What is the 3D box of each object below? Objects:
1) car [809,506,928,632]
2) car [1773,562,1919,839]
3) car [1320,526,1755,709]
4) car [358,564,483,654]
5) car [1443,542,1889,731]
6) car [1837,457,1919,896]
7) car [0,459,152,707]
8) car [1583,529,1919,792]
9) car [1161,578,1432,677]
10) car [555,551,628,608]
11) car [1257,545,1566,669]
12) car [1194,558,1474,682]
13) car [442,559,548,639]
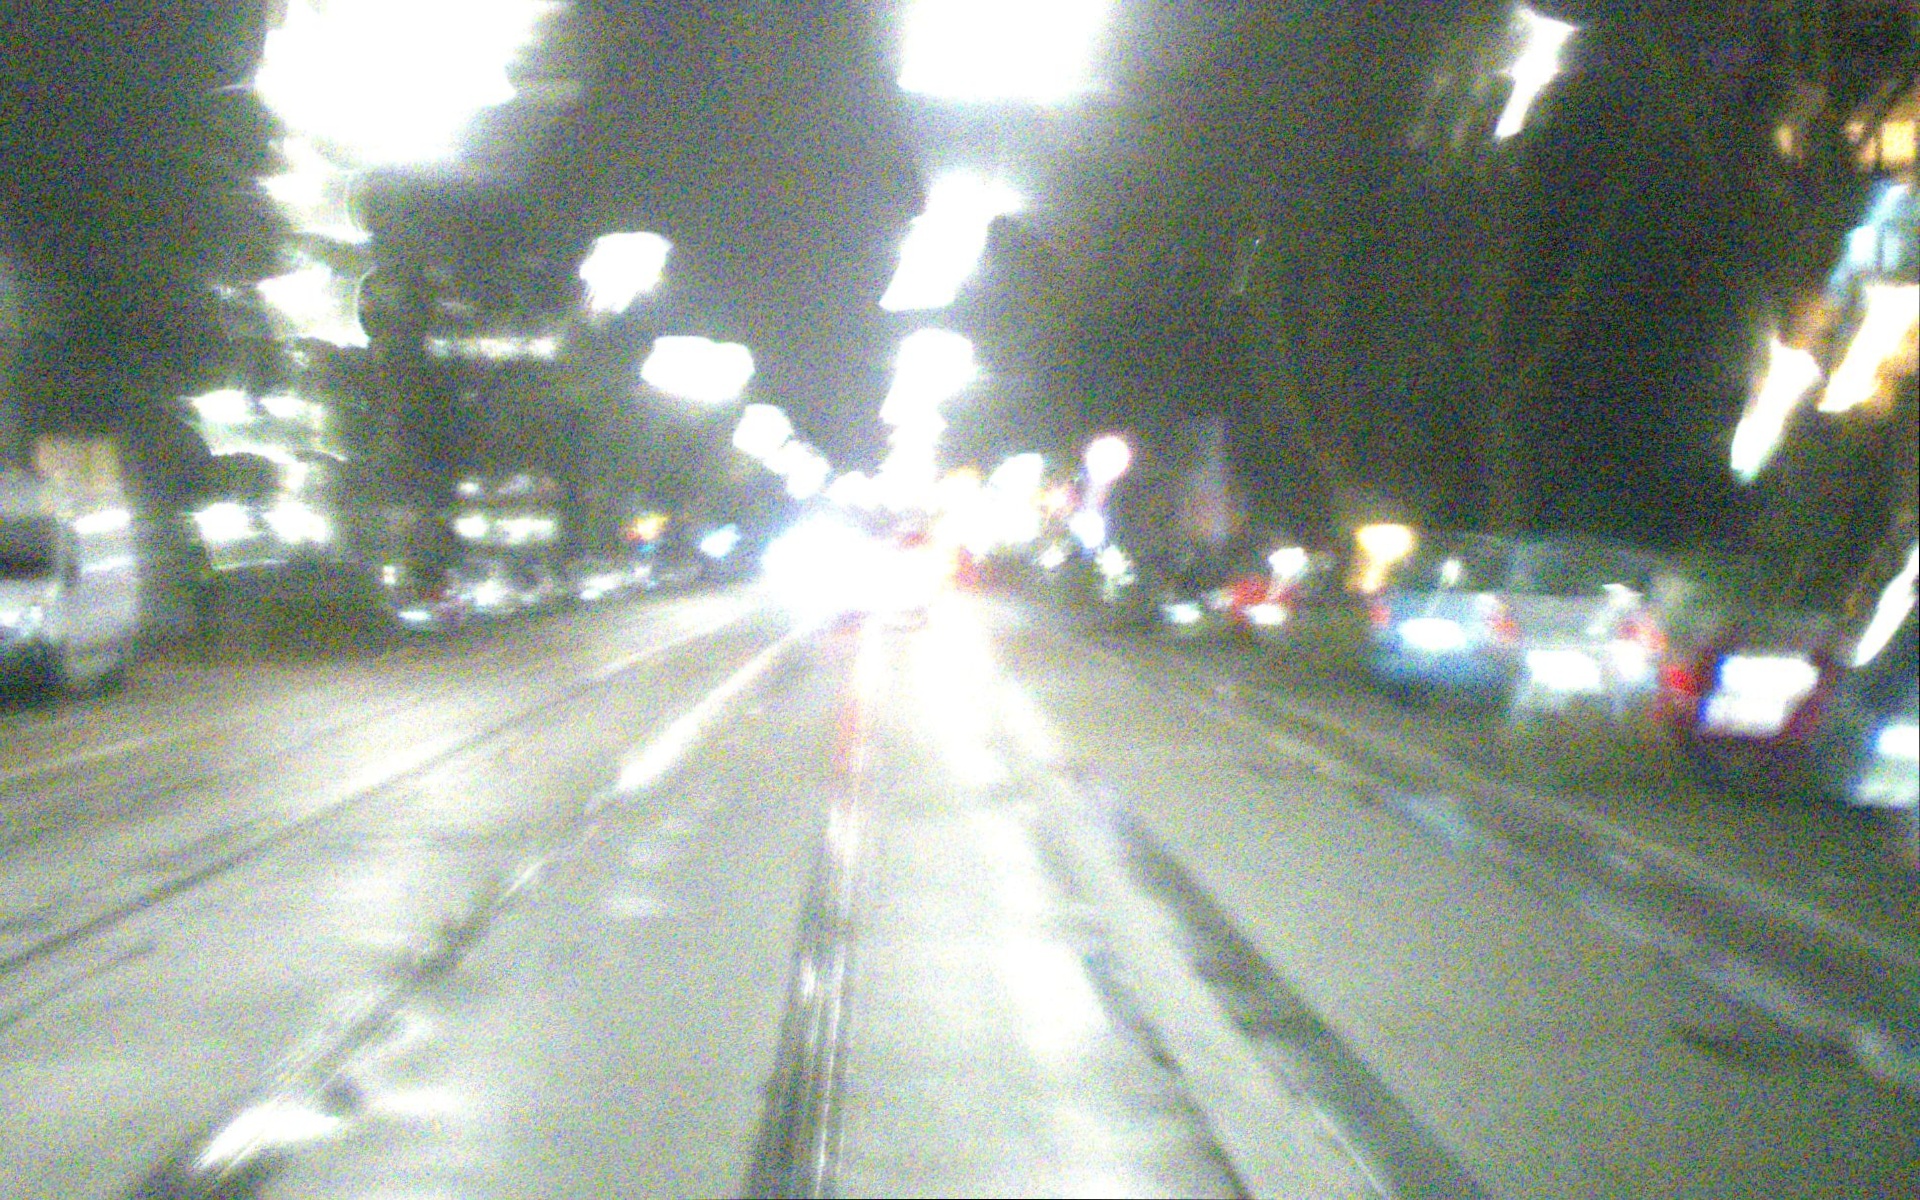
[{"bbox_3d":[-1.884,-0.628,69.133,2.216,2.433,5.385,0,1,-3],"label":"car"},{"bbox_3d":[6.086,0.509,18.305,3.327,1.380,1.631,0,1,-36],"label":"car"},{"bbox_3d":[5.203,0.132,30.745,3.878,1.528,1.820,0,1,-42],"label":"car"},{"bbox_3d":[-11.215,0.176,71.785,2.108,1.758,4.966,2,0,-4],"label":"car"},{"bbox_3d":[5.860,0.285,28.299,1.820,1.428,3.846,2,1,43],"label":"car"},{"bbox_3d":[5.964,0.361,15.350,4.162,1.833,1.962,1,1,-43],"label":"car"},{"bbox_3d":[-10.345,-0.247,37.502,2.024,2.490,5.608,2,1,-4],"label":"car"},{"bbox_3d":[5.799,0.295,21.644,1.691,1.399,4.447,1,3,40],"label":"car"},{"bbox_3d":[5.297,0.429,53.748,1.950,1.449,4.237,2,1,45],"label":"car"},{"bbox_3d":[-11.907,-0.648,111.331,2.022,1.755,4.000,2,0,-2],"label":"car"},{"bbox_3d":[5.490,0.067,41.565,3.818,1.425,1.636,0,1,-43],"label":"car"},{"bbox_3d":[5.247,0.272,47.892,2.054,1.618,3.819,2,1,41],"label":"car"},{"bbox_3d":[-10.816,-0.019,80.227,1.999,1.779,4.000,2,0,-2],"label":"car"}]
